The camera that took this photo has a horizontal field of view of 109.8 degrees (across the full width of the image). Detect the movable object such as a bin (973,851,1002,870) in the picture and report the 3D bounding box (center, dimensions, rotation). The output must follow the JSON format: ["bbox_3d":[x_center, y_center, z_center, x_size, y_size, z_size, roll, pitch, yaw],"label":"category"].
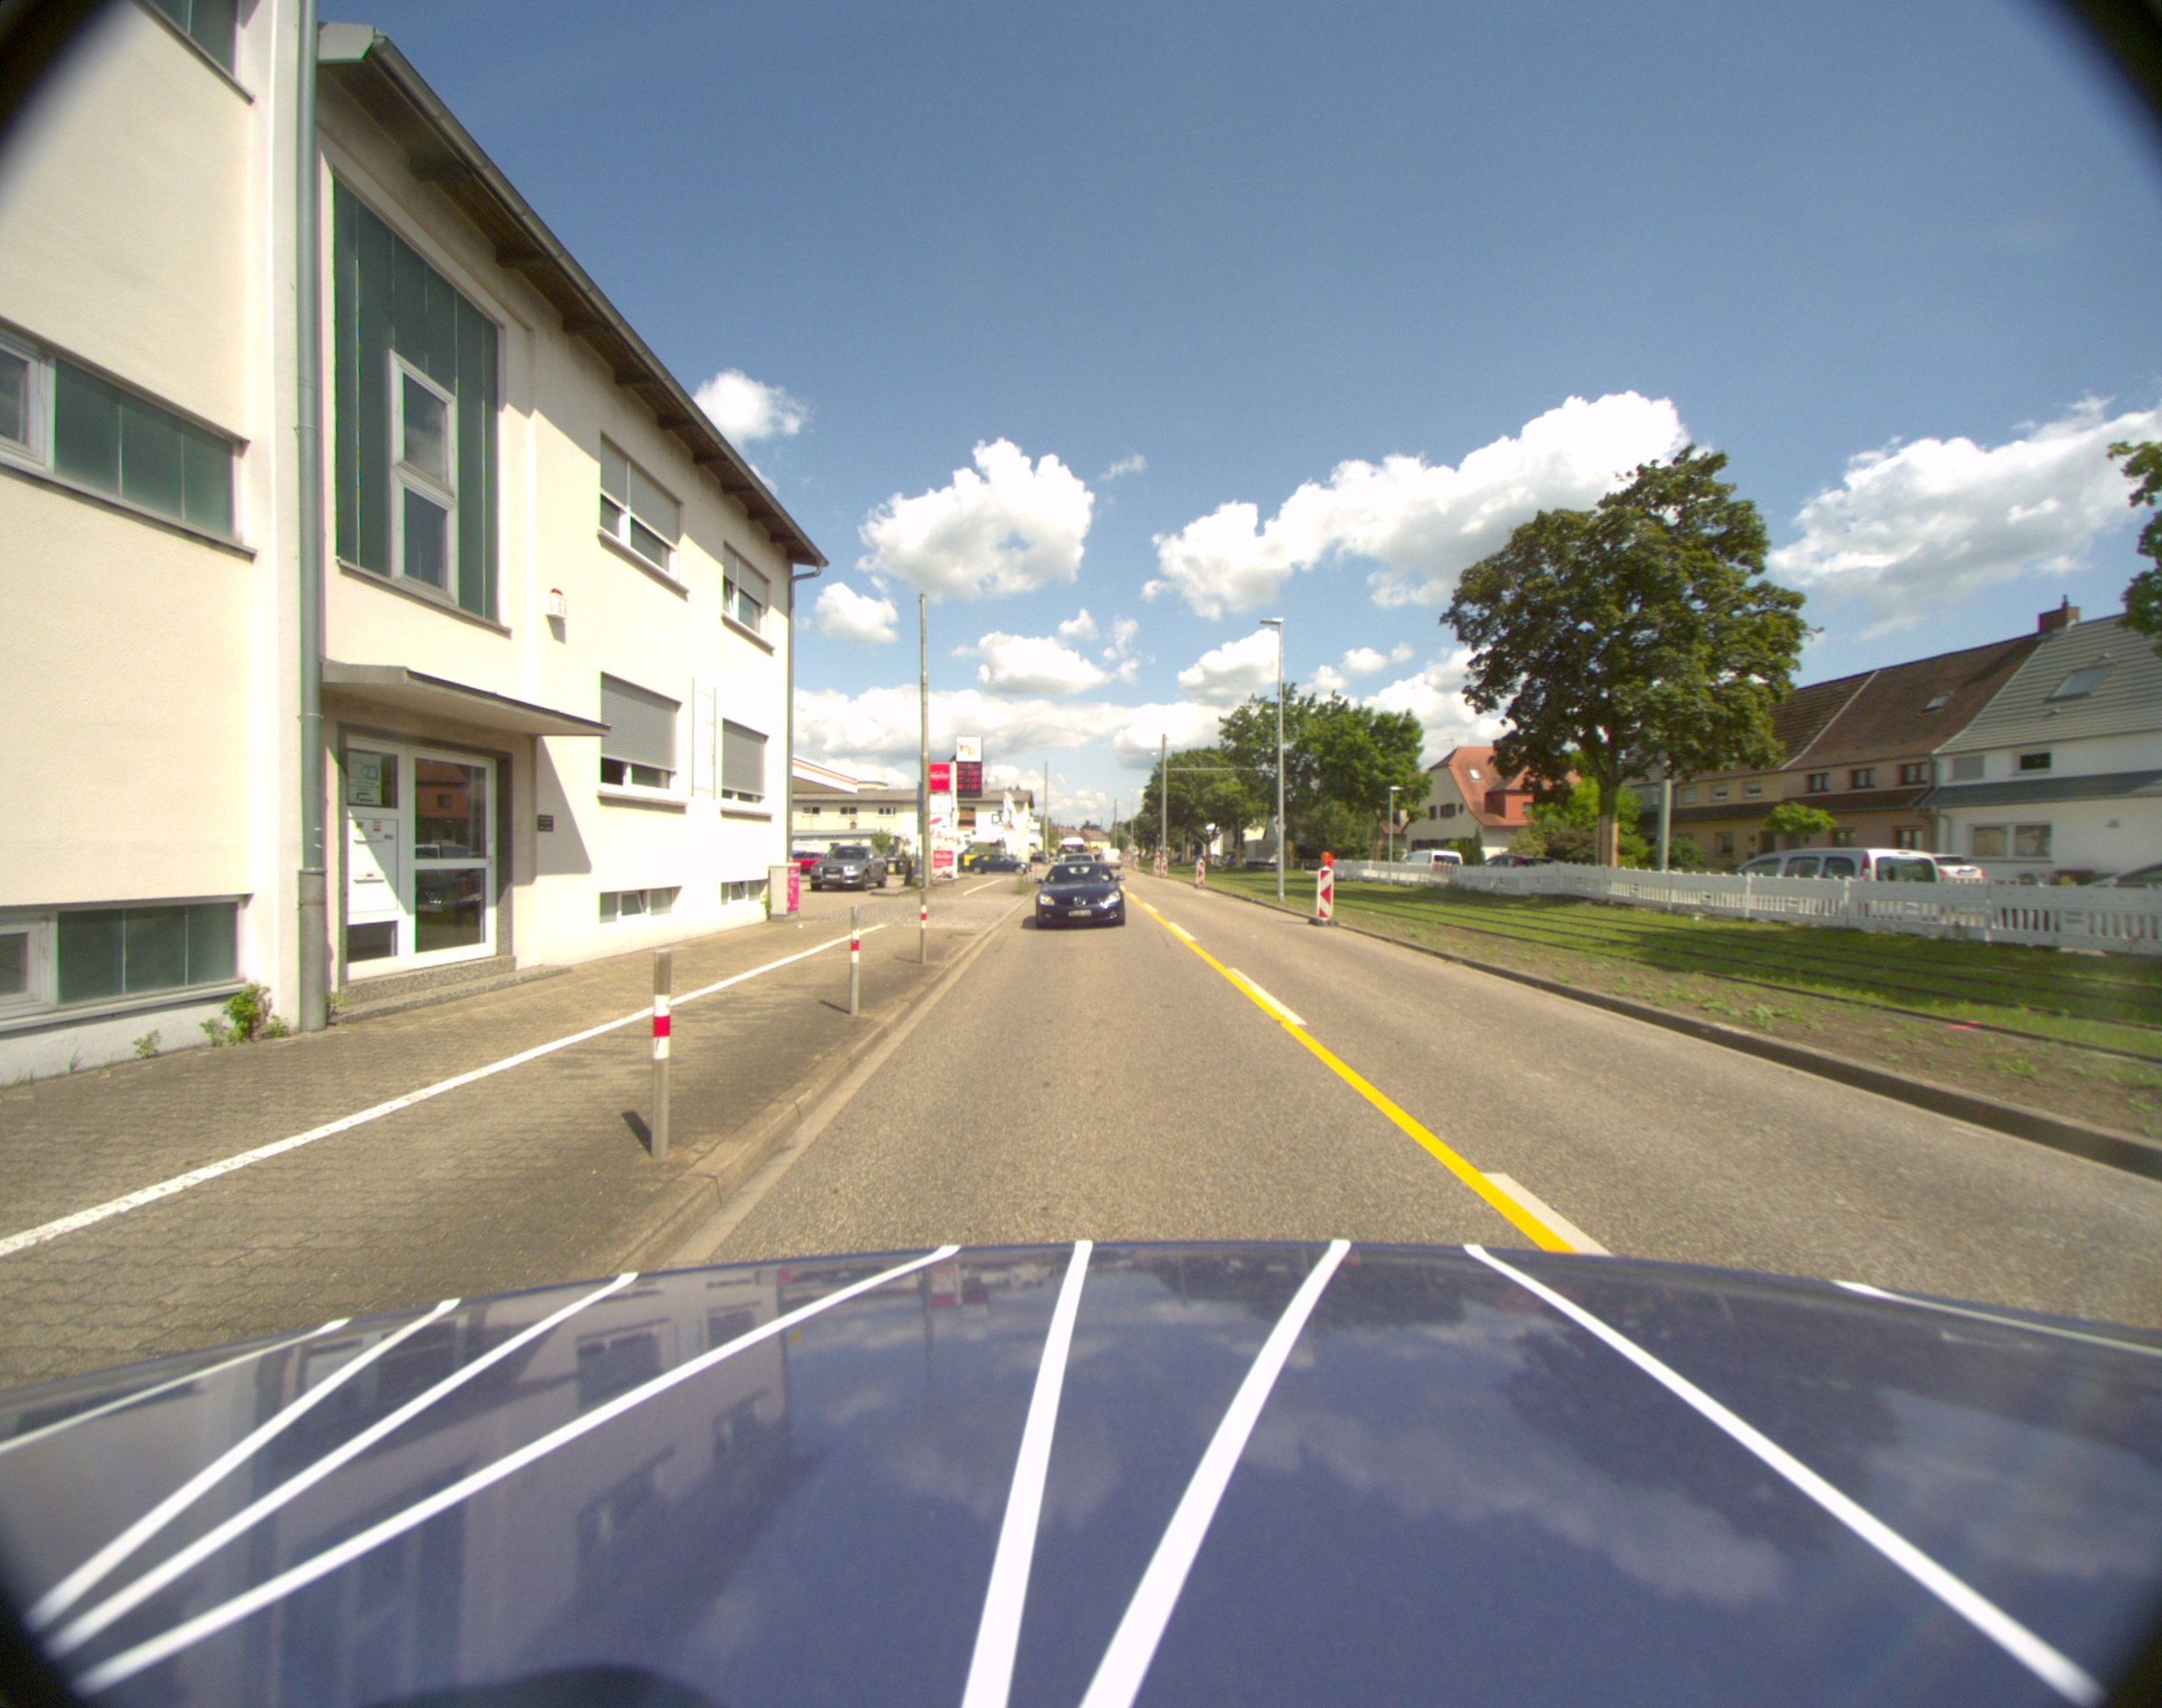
[{"bbox_3d":[-7.095,0.472,57.783,1.968,1.339,1.708,-2,1,-1],"label":"movable object such as a bin"}]

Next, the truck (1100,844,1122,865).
[{"bbox_3d":[2.948,0.025,75.659,1.825,1.899,5.114,2,1,-1],"label":"truck"}]

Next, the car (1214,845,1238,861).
[{"bbox_3d":[14.935,-0.133,78.443,1.672,1.504,3.930,-2,1,0],"label":"car"}]

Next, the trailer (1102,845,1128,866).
[{"bbox_3d":[3.137,0.113,71.483,2.067,1.825,5.484,2,1,0],"label":"trailer"}]

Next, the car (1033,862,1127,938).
[{"bbox_3d":[-0.019,0.875,16.151,1.732,1.259,3.999,-2,1,0],"label":"car"}]

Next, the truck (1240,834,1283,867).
[{"bbox_3d":[16.045,-0.342,67.965,2.371,2.789,5.950,-2,1,0],"label":"truck"}]

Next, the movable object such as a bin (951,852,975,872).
[{"bbox_3d":[-8.913,0.582,57.644,1.536,1.402,1.765,-2,1,-1],"label":"movable object such as a bin"}]

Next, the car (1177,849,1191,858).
[{"bbox_3d":[16.005,-0.086,117.963,1.637,1.294,3.999,-2,1,0],"label":"car"}]

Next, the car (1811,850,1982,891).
[{"bbox_3d":[28.416,0.529,26.705,1.538,1.268,4.119,1,1,0],"label":"car"}]

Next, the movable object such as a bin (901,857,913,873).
[{"bbox_3d":[-11.109,0.691,48.402,0.582,1.004,0.706,-2,1,-1],"label":"movable object such as a bin"}]

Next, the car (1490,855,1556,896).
[{"bbox_3d":[16.066,0.751,27.717,1.075,1.340,2.449,1,1,4],"label":"car"}]

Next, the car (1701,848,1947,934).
[{"bbox_3d":[16.309,0.714,17.009,1.627,1.642,3.898,1,1,0],"label":"car"}]

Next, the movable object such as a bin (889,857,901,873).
[{"bbox_3d":[-11.795,0.697,48.243,0.582,1.004,0.706,-2,1,-1],"label":"movable object such as a bin"}]

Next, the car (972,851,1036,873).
[{"bbox_3d":[-5.145,0.547,51.055,4.061,1.400,1.647,0,2,6],"label":"car"}]

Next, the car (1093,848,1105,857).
[{"bbox_3d":[2.812,-0.251,119.504,1.697,1.404,3.858,2,1,-1],"label":"car"}]

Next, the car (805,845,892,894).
[{"bbox_3d":[-8.427,0.502,27.963,1.951,1.616,4.614,1,1,-2],"label":"car"}]

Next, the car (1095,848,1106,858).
[{"bbox_3d":[3.458,-0.218,134.630,1.829,1.656,4.461,1,1,0],"label":"car"}]

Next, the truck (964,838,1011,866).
[{"bbox_3d":[-9.133,-0.215,74.528,4.181,2.645,2.108,-2,1,1],"label":"truck"}]

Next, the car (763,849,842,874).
[{"bbox_3d":[-16.961,0.457,46.312,4.145,1.416,1.771,1,1,1],"label":"car"}]

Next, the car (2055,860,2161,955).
[{"bbox_3d":[16.399,0.795,10.690,1.353,1.369,3.114,1,0,0],"label":"car"}]

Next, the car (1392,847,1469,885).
[{"bbox_3d":[16.116,0.511,35.226,1.657,1.616,4.000,1,1,0],"label":"car"}]

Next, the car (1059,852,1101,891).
[{"bbox_3d":[-0.050,0.693,31.465,1.594,1.418,3.706,-2,1,0],"label":"car"}]

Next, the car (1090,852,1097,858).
[{"bbox_3d":[3.069,0.216,192.064,1.582,1.461,3.719,2,1,0],"label":"car"}]

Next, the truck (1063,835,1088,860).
[{"bbox_3d":[-0.602,-0.821,90.825,2.632,2.872,7.922,-2,1,1],"label":"truck"}]
